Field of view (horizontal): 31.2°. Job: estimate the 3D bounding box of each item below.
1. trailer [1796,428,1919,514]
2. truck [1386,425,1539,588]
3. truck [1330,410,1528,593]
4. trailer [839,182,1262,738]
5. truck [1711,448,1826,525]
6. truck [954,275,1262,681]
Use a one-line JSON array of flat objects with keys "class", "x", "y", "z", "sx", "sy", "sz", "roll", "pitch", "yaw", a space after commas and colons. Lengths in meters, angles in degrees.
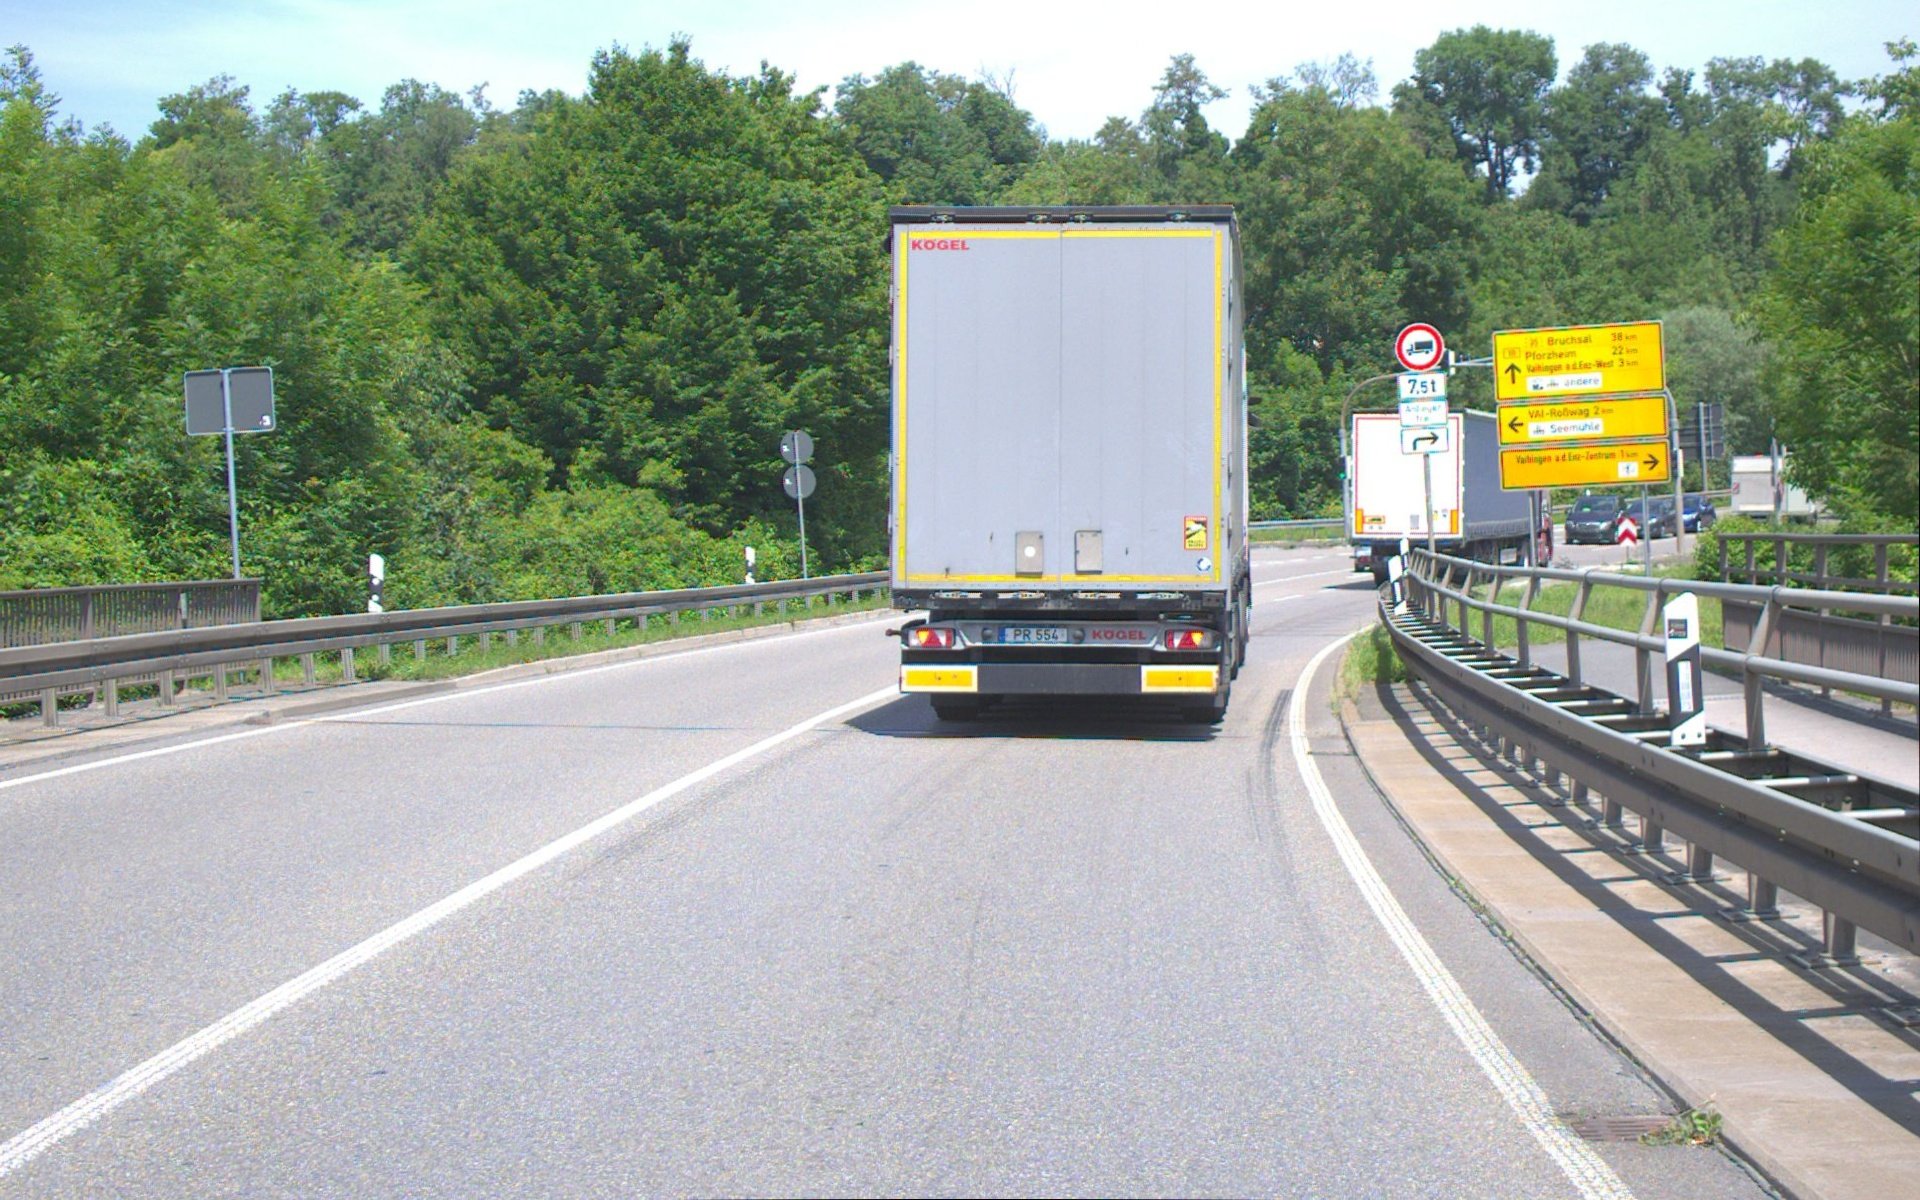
[{"class": "trailer", "x": 39.861, "y": -5.645, "z": 150.895, "sx": 3.257, "sy": 3.672, "sz": 9.234, "roll": 1, "pitch": 2, "yaw": 33}, {"class": "truck", "x": 12.775, "y": -2.321, "z": 87.031, "sx": 3.171, "sy": 3.990, "sz": 5.811, "roll": 0, "pitch": 1, "yaw": 15}, {"class": "truck", "x": 11.295, "y": -2.256, "z": 81.648, "sx": 3.181, "sy": 4.015, "sz": 11.737, "roll": 0, "pitch": 1, "yaw": 15}, {"class": "trailer", "x": 1.203, "y": -1.130, "z": 31.279, "sx": 3.052, "sy": 4.020, "sz": 12.557, "roll": 0, "pitch": 1, "yaw": 5}, {"class": "truck", "x": 31.701, "y": -4.443, "z": 134.655, "sx": 2.859, "sy": 2.937, "sz": 7.095, "roll": 1, "pitch": 2, "yaw": 26}, {"class": "truck", "x": 1.764, "y": -1.269, "z": 37.605, "sx": 3.038, "sy": 4.020, "sz": 6.628, "roll": 0, "pitch": 1, "yaw": 5}]
